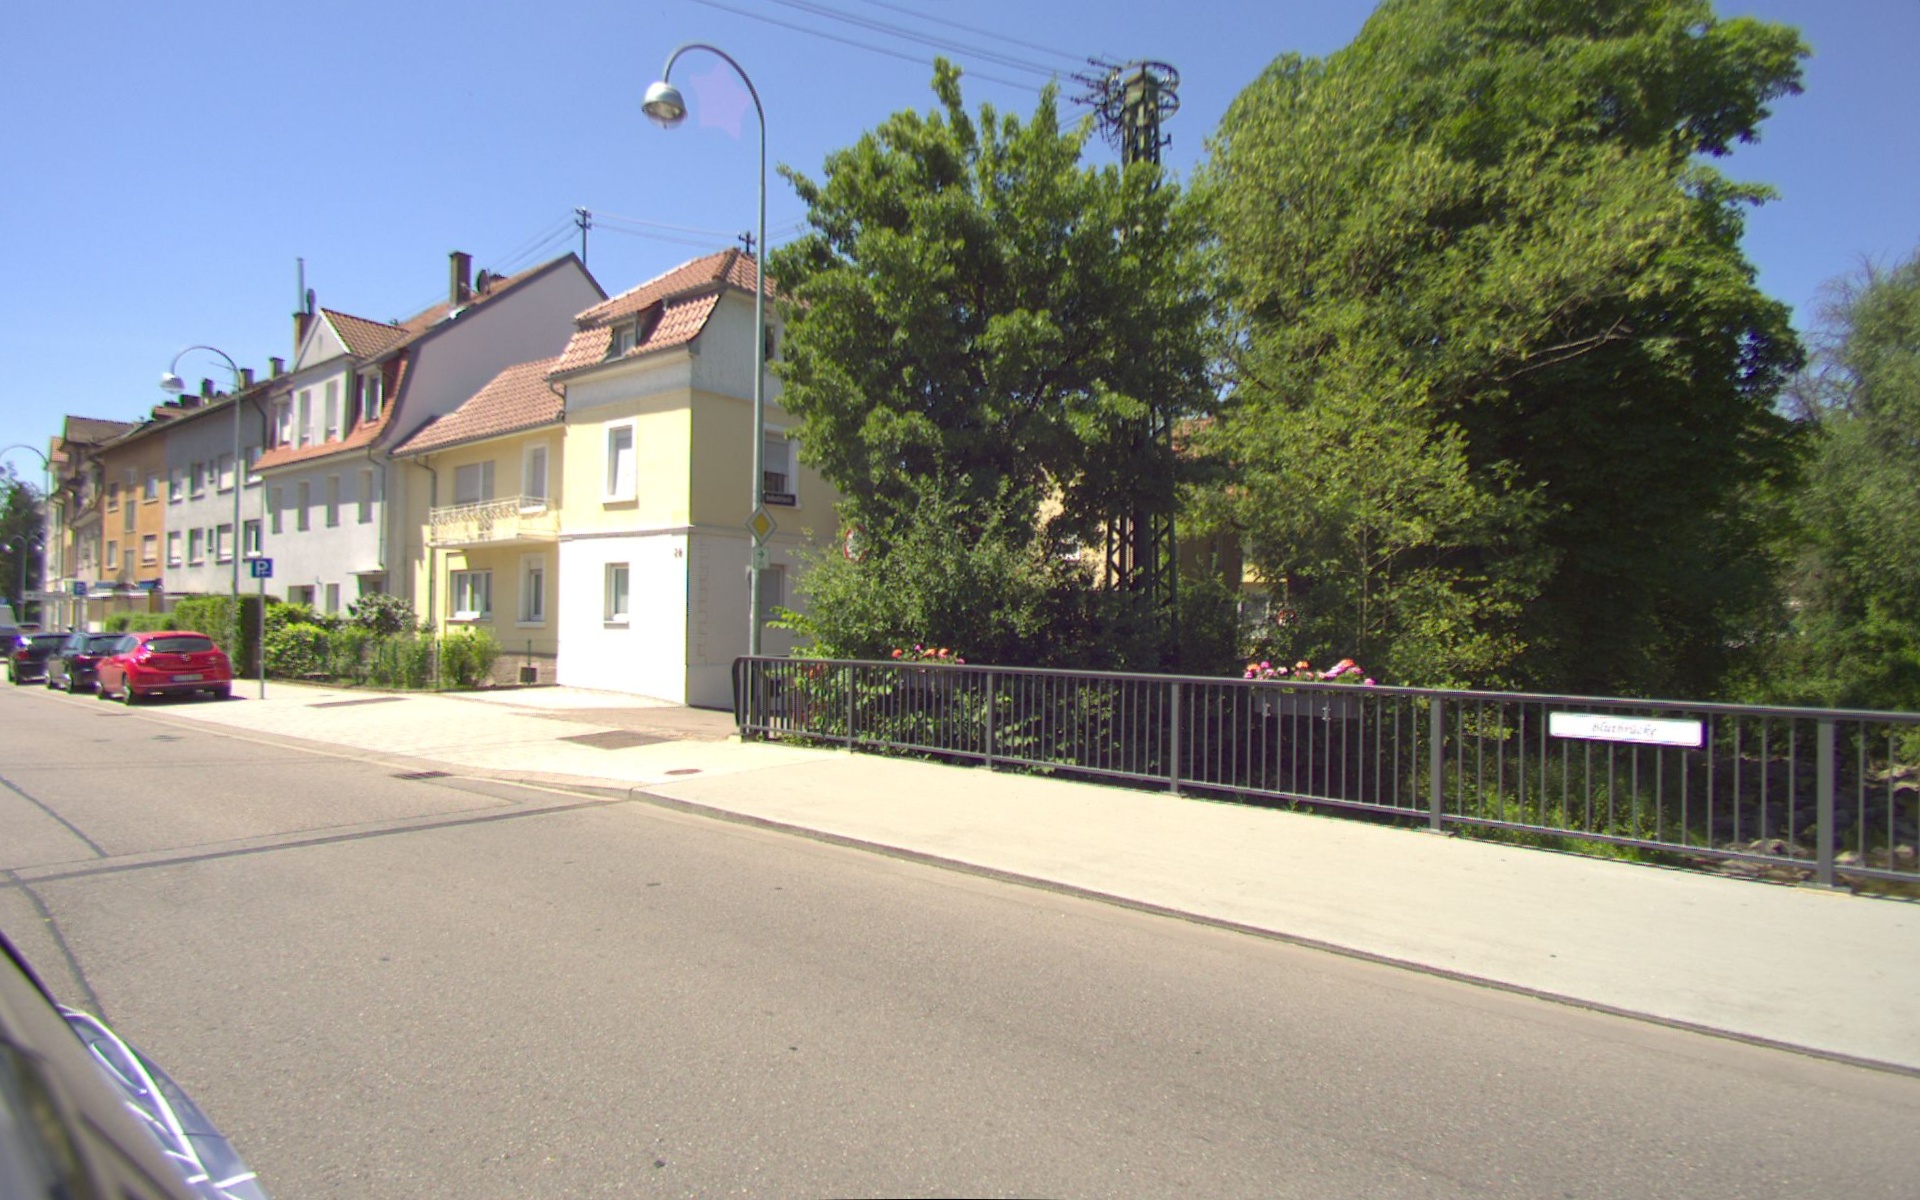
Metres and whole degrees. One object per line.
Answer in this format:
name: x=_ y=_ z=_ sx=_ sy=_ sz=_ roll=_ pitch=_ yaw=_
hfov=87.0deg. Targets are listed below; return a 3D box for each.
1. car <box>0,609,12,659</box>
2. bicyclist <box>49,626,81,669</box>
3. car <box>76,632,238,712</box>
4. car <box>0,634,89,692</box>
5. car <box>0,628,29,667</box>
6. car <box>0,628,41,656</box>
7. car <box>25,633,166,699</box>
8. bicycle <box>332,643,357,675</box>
car: x=-49.998 y=1.721 z=51.544 sx=6.118 sy=2.468 sz=2.096 roll=-1 pitch=0 yaw=43
bicyclist: x=-35.251 y=1.876 z=39.849 sx=0.834 sy=1.672 sz=0.774 roll=-1 pitch=-2 yaw=38
car: x=-17.659 y=1.484 z=22.164 sx=4.734 sy=1.491 sz=1.859 roll=-1 pitch=0 yaw=40
car: x=-26.949 y=1.795 z=29.633 sx=4.198 sy=1.470 sz=1.768 roll=-2 pitch=0 yaw=44
car: x=-41.949 y=2.046 z=43.948 sx=2.059 sy=1.627 sz=5.116 roll=0 pitch=-1 yaw=-41
car: x=-55.736 y=2.448 z=59.864 sx=4.116 sy=1.553 sz=1.774 roll=-1 pitch=-1 yaw=44
car: x=-22.132 y=1.624 z=25.834 sx=5.301 sy=1.473 sz=1.845 roll=-2 pitch=-1 yaw=40
bicycle: x=-18.536 y=1.777 z=30.484 sx=1.162 sy=0.914 sz=0.230 roll=1 pitch=-1 yaw=38
